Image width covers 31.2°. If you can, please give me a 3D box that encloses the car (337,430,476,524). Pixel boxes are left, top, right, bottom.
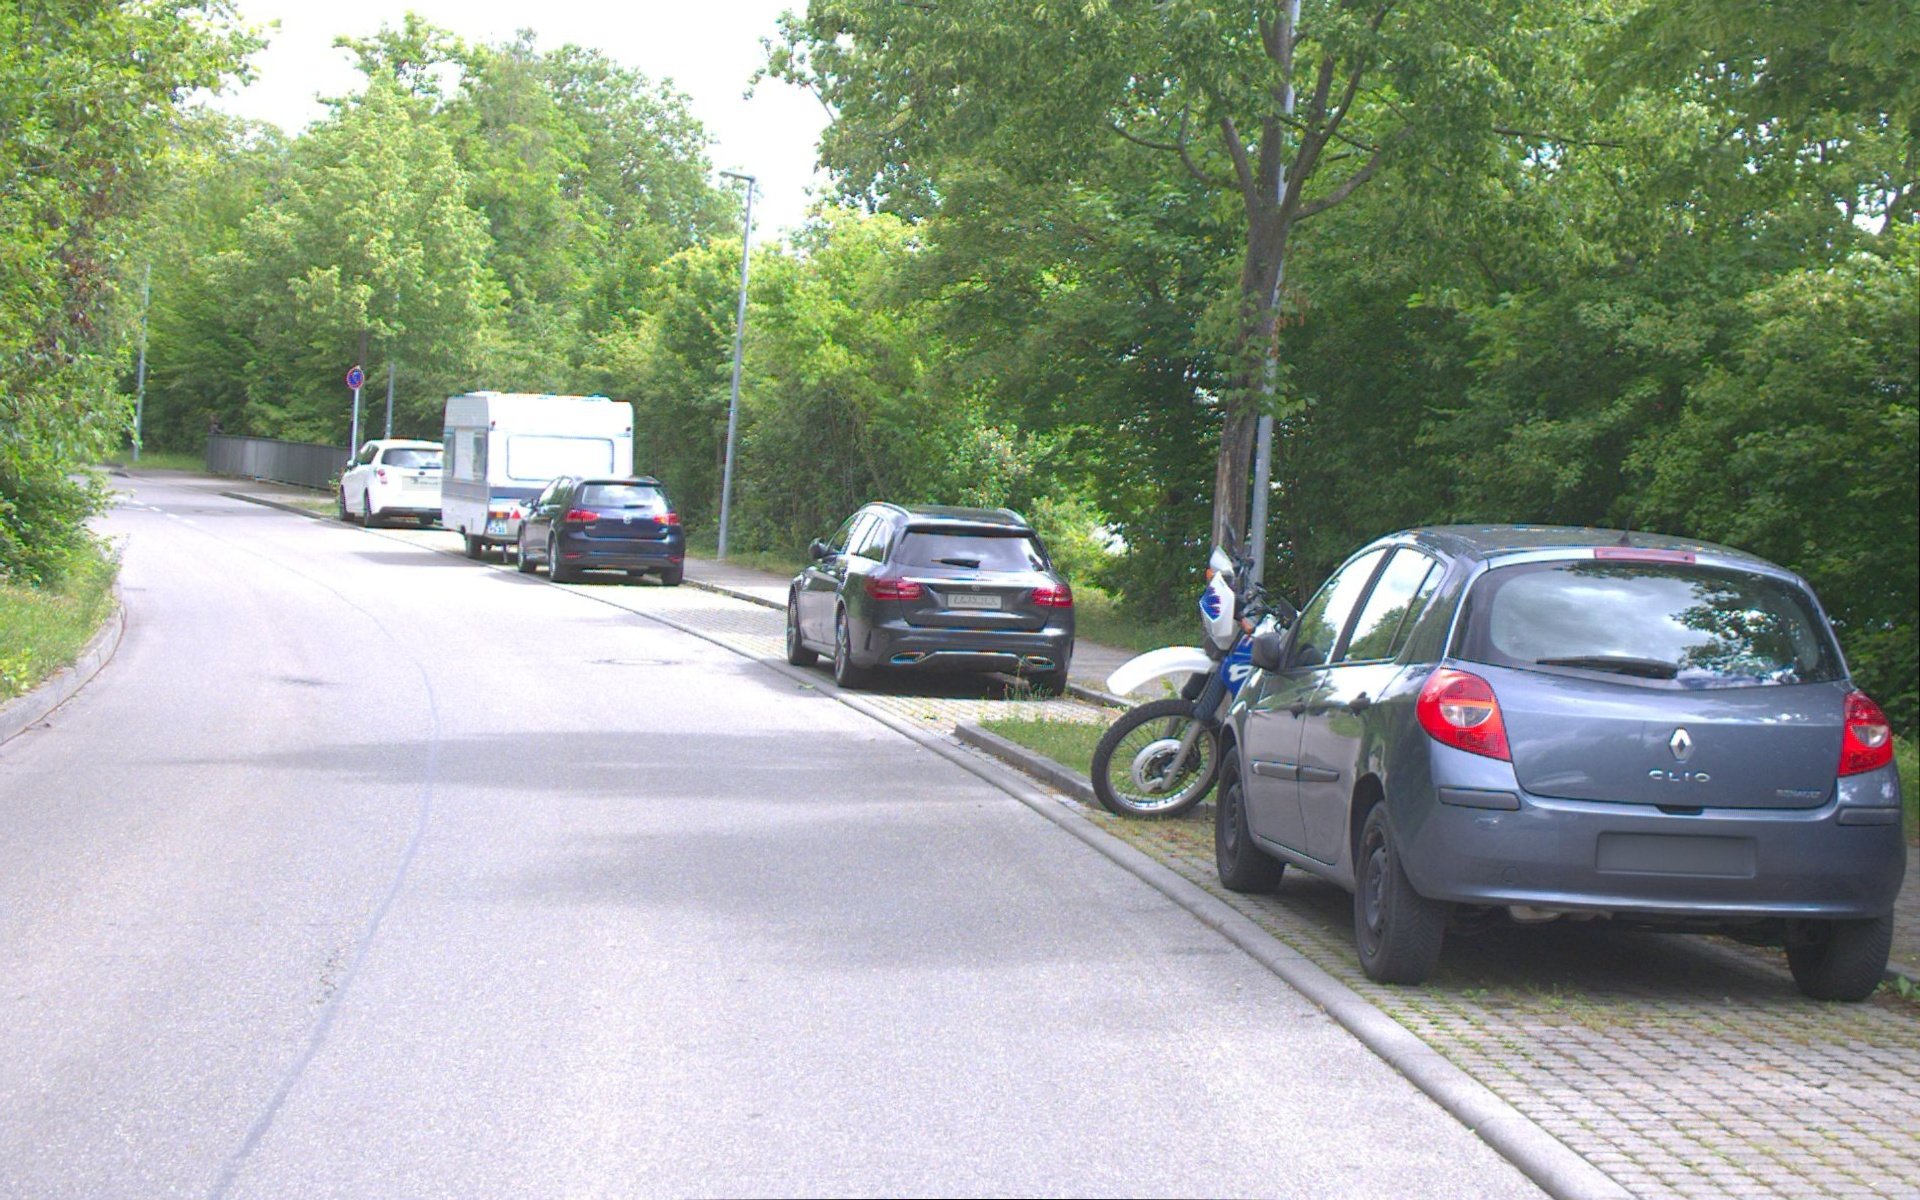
[{"bbox_3d":[-10.456,-2.341,64.711,1.804,1.594,4.374,1,3,-19],"label":"car"}]

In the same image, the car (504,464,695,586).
[{"bbox_3d":[-4.978,-1.055,46.955,1.681,1.446,4.482,2,2,-17],"label":"car"}]

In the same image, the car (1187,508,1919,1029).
[{"bbox_3d":[2.015,0.476,12.405,1.769,1.512,4.108,2,1,-4],"label":"car"}]

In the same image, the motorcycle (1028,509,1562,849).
[{"bbox_3d":[1.577,0.333,16.134,2.307,1.470,0.974,2,1,19],"label":"motorcycle"}]

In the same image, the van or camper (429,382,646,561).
[{"bbox_3d":[-6.527,-1.996,52.574,2.354,2.545,5.077,1,3,-17],"label":"van or camper"}]

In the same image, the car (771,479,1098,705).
[{"bbox_3d":[-0.310,-0.131,28.055,1.892,1.524,4.548,3,3,-10],"label":"car"}]
